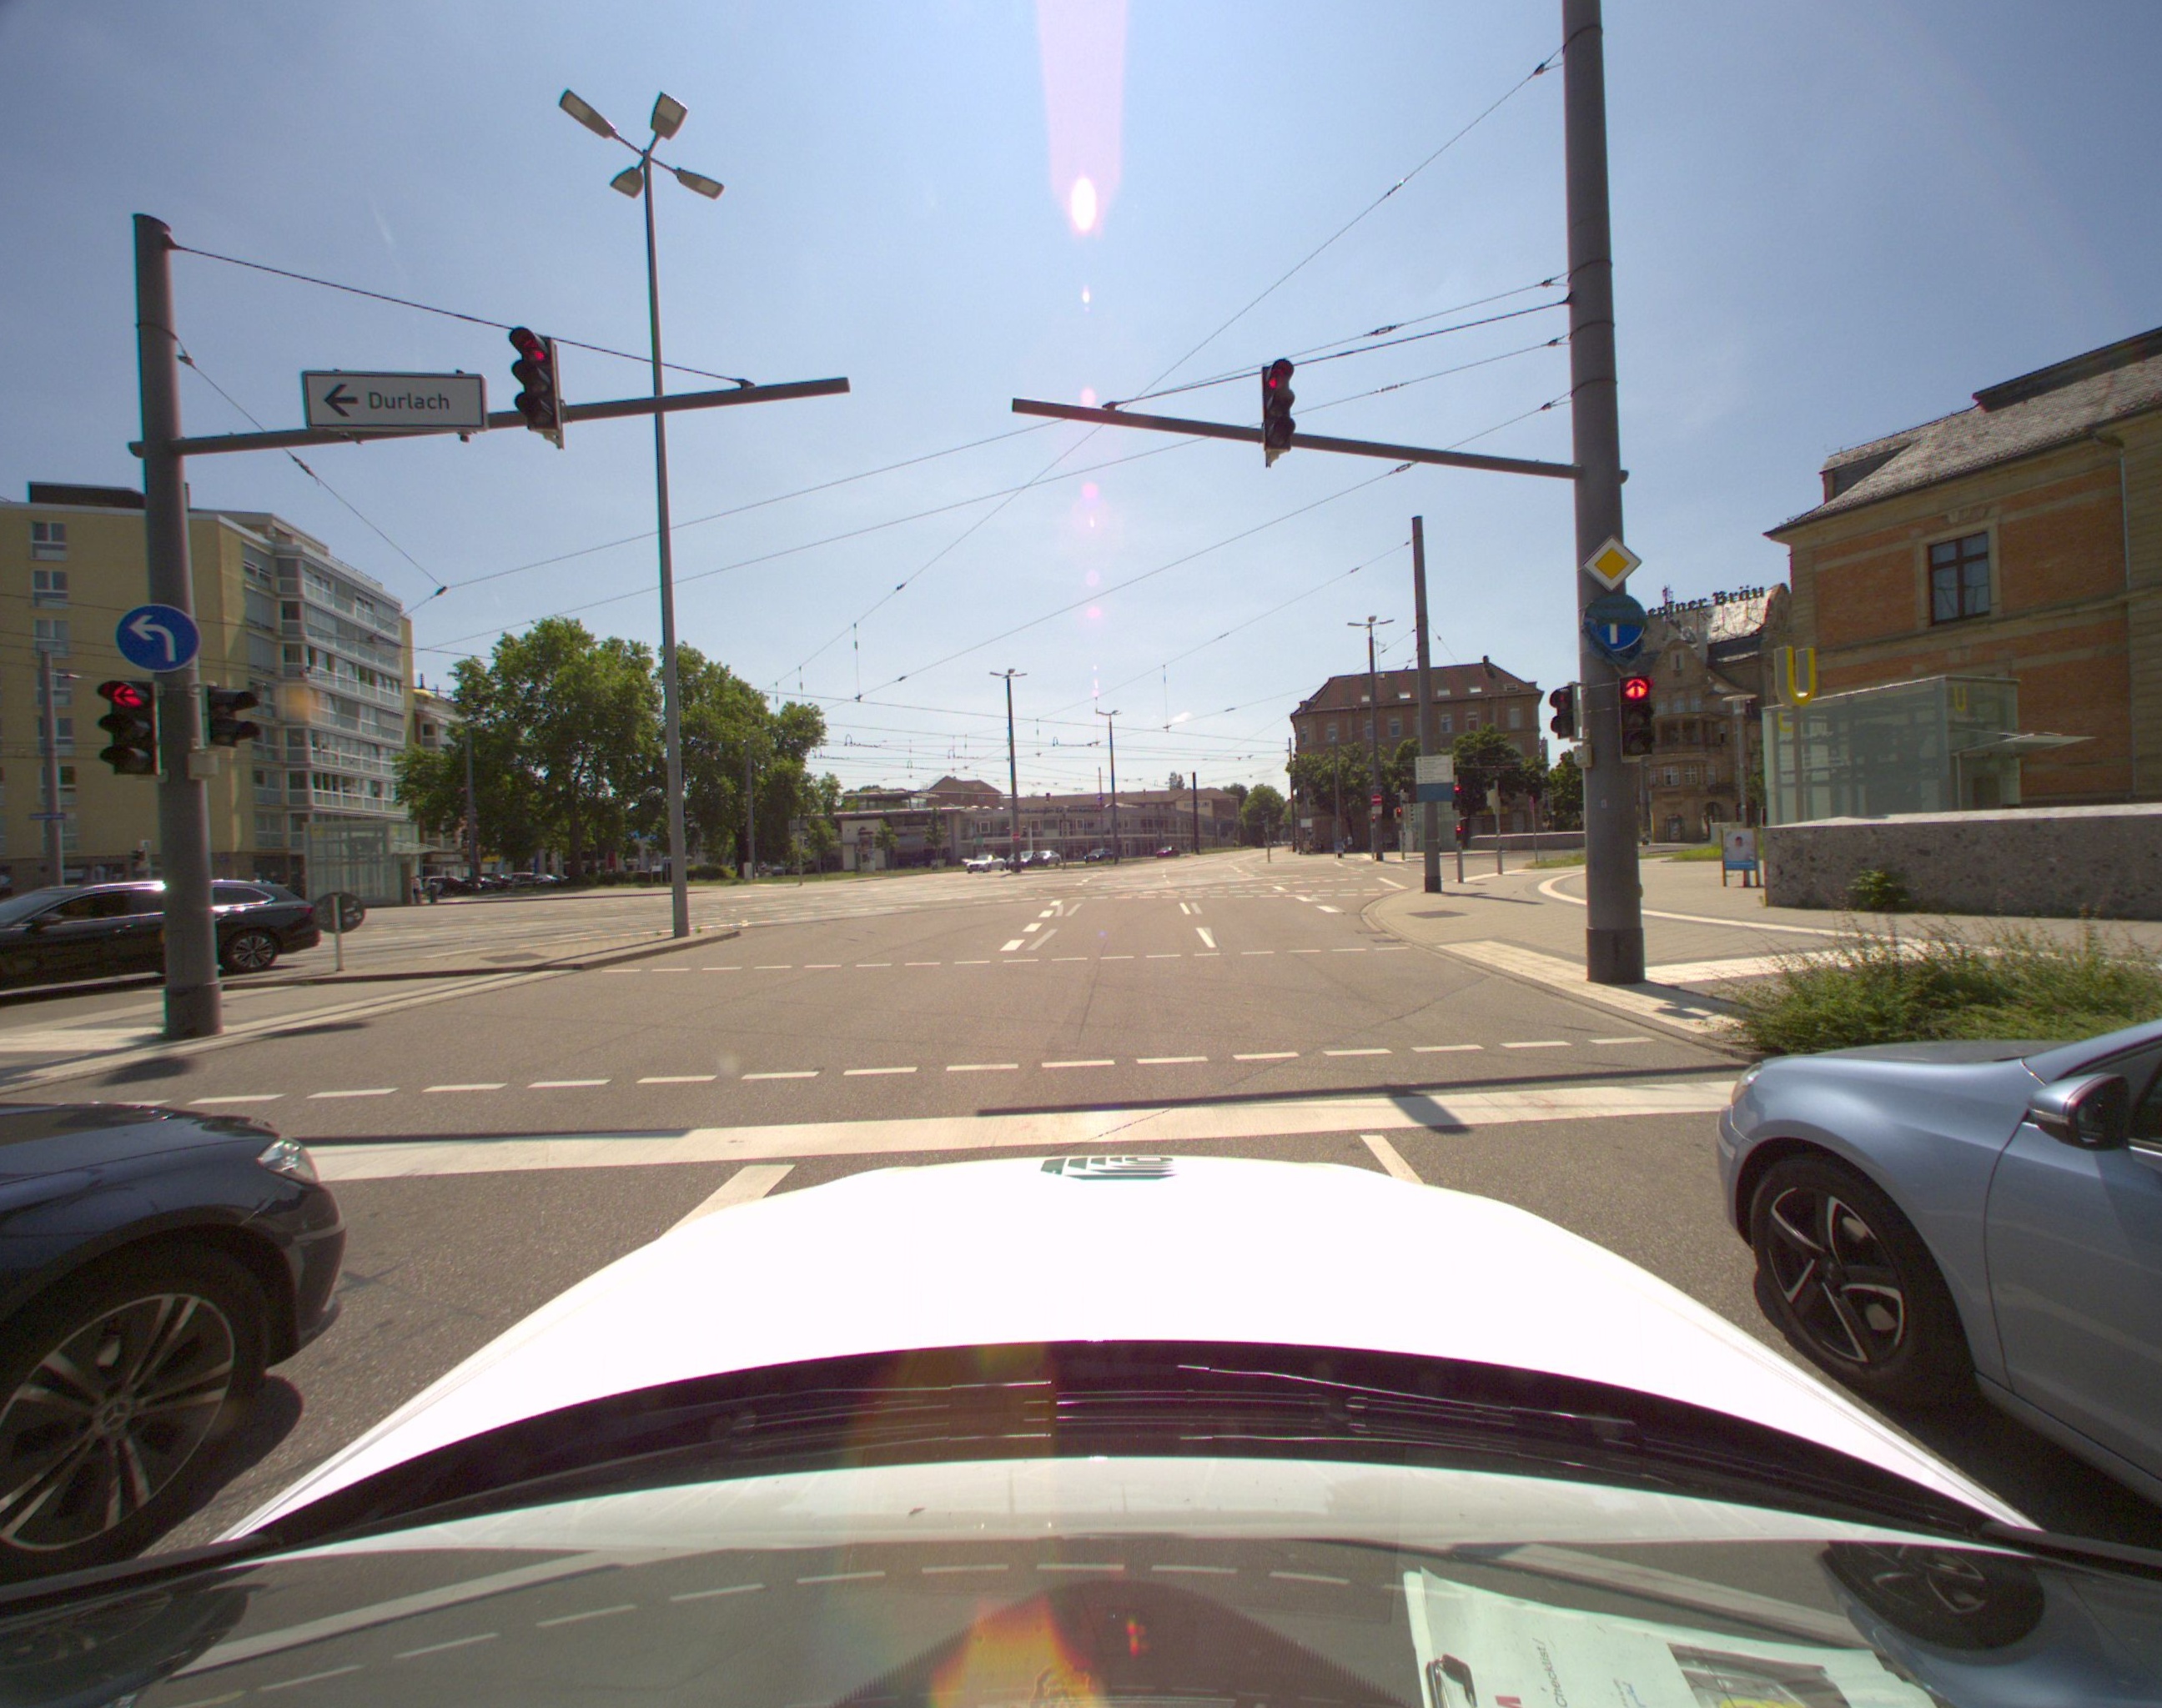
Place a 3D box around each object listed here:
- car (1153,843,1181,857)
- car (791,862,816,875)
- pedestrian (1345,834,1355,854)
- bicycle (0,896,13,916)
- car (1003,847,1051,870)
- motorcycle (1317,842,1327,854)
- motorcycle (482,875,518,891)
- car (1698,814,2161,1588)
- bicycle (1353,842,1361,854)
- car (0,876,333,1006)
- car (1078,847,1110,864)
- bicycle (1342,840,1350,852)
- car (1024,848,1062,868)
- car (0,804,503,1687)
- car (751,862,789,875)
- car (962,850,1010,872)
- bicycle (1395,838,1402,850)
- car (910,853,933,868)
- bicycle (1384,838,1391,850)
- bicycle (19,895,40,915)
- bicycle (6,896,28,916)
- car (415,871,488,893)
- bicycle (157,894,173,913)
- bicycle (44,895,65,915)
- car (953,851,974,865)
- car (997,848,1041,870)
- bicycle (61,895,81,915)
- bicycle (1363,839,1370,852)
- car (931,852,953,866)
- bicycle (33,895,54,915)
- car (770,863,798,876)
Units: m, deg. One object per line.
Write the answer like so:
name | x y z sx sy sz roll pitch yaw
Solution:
car | 11.486 -0.560 108.781 1.974 1.776 4.025 -1 -1 34
car | -34.813 1.791 102.309 1.763 1.510 4.322 -2 0 -3
pedestrian | 23.426 -0.894 70.956 0.461 1.708 0.638 -2 0 -10
bicycle | -58.459 2.804 44.137 0.435 1.026 1.426 -2 0 -42
car | -4.233 0.347 64.845 1.977 1.637 4.870 -2 0 19
motorcycle | 23.275 -0.596 78.745 0.577 1.074 1.949 -2 0 6
motorcycle | -39.456 1.986 55.307 1.925 0.961 0.521 -2 0 -29
car | 2.820 0.648 0.708 1.645 1.459 4.006 -1 0 2
bicycle | 26.569 -0.624 78.380 0.547 1.120 1.828 -2 0 15
car | -14.026 1.166 11.388 1.978 1.465 4.868 -2 0 17
car | 1.469 0.144 90.466 2.061 1.682 4.870 -2 0 19
bicycle | 25.744 -0.744 79.157 0.440 1.146 2.099 -1 -1 9
car | -3.512 0.366 76.607 1.977 1.739 4.565 -2 0 19
car | -2.964 0.744 0.370 1.790 1.640 4.808 -1 0 3
car | -41.393 1.949 108.353 4.343 1.510 1.754 -2 0 -33
car | -7.478 0.536 64.611 2.061 1.580 4.866 -2 0 15
bicycle | 30.472 -0.974 78.185 0.546 1.120 1.938 -2 0 18
car | -19.734 0.813 100.696 1.913 1.707 4.002 0 -1 2
bicycle | 29.496 -0.932 78.327 0.546 1.120 1.879 -2 0 18
bicycle | -57.404 2.799 44.446 0.435 1.026 1.426 -2 0 -42
bicycle | -57.859 2.801 44.288 0.435 1.026 1.426 -2 0 -42
car | -48.983 2.167 63.448 3.999 1.420 1.988 -2 0 -19
bicycle | -51.690 2.772 45.955 0.435 1.026 1.426 -2 0 -42
bicycle | -56.409 2.795 44.756 0.435 1.026 1.426 -2 0 -42
car | -14.503 0.539 100.720 1.913 1.707 4.002 0 -1 2
car | -5.321 0.411 70.703 1.977 1.700 4.870 -2 0 19
bicycle | -55.912 2.795 45.076 0.435 1.026 1.426 -2 0 -42
bicycle | 27.358 -0.820 78.018 0.546 1.120 1.829 -2 0 18
car | -17.163 0.598 100.720 1.913 1.707 4.002 0 -1 2
bicycle | -56.916 2.798 44.682 0.435 1.026 1.426 -2 0 -42
car | -37.500 1.903 102.858 1.760 1.510 4.330 -2 0 3
